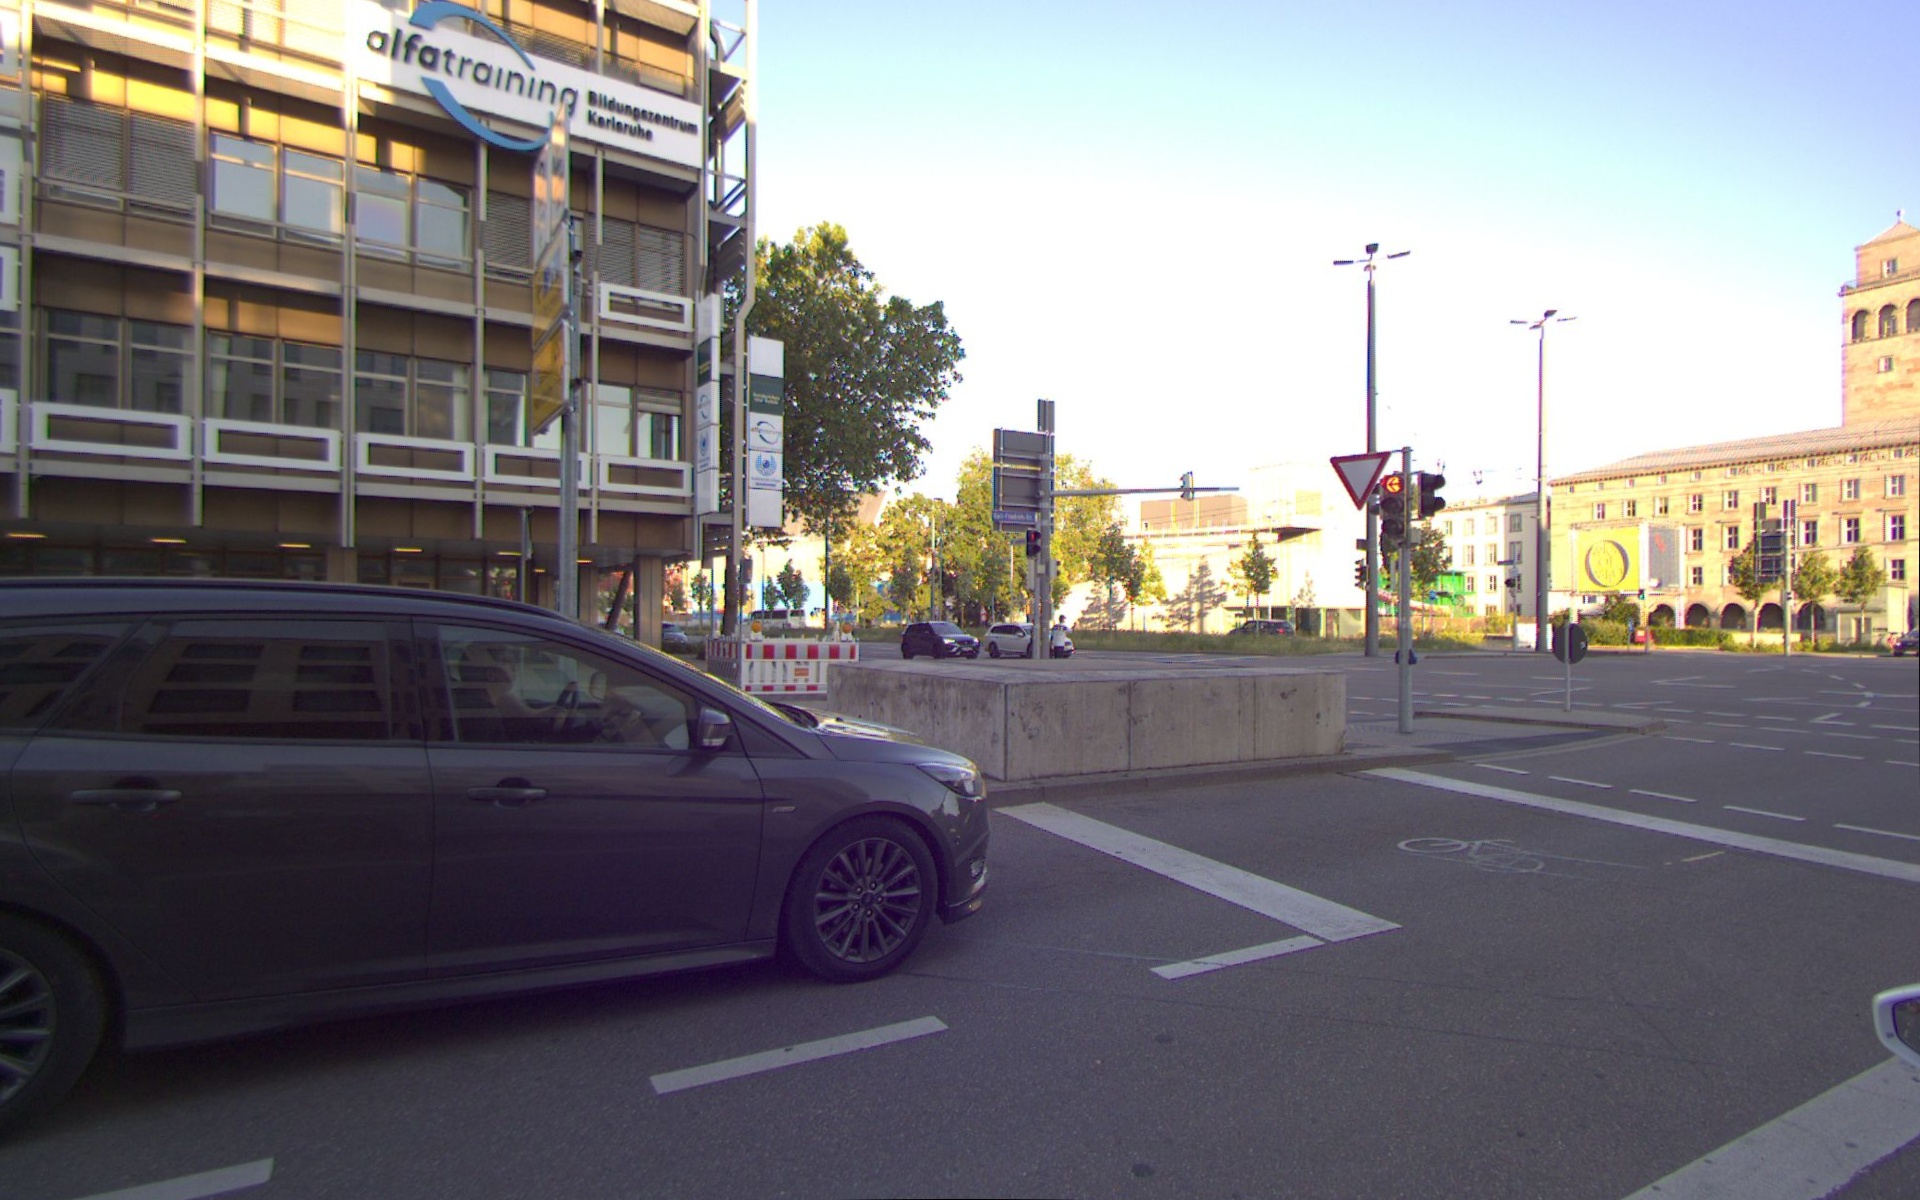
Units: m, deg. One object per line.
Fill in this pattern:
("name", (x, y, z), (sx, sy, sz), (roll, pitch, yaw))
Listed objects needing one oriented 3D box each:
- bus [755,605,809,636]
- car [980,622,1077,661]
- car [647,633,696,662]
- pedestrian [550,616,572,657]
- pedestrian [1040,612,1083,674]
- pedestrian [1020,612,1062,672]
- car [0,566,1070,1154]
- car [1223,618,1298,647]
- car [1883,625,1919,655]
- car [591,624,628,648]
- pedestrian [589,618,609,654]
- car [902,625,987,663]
("bus", (-23.116, 2.654, 130.074), (2.959, 3.818, 10.341), (1, -1, -34))
("car", (2.771, 1.690, 41.938), (1.829, 1.476, 4.555), (0, -1, -30))
("car", (-17.007, 2.754, 59.053), (1.722, 1.605, 4.554), (0, -1, -30))
("pedestrian", (-18.049, 1.648, 45.387), (0.749, 1.830, 0.715), (2, 0, -35))
("pedestrian", (2.928, 1.222, 28.918), (0.949, 1.744, 0.816), (1, -1, -34))
("pedestrian", (2.391, 1.225, 29.679), (0.949, 1.744, 0.816), (1, -1, -34))
("car", (-1.830, 0.657, 3.898), (4.330, 1.482, 1.748), (1, 1, -31))
("car", (17.904, 1.914, 60.003), (1.727, 1.626, 4.094), (1, -1, -35))
("car", (51.216, 2.104, 53.630), (4.111, 1.485, 1.813), (0, -1, -32))
("car", (-24.440, 2.505, 69.918), (1.722, 1.605, 3.764), (0, -1, -31))
("pedestrian", (-16.451, 1.634, 45.800), (0.660, 1.606, 0.715), (2, 0, -34))
("car", (-0.687, 1.776, 41.665), (1.829, 1.476, 3.921), (0, -1, -30))
